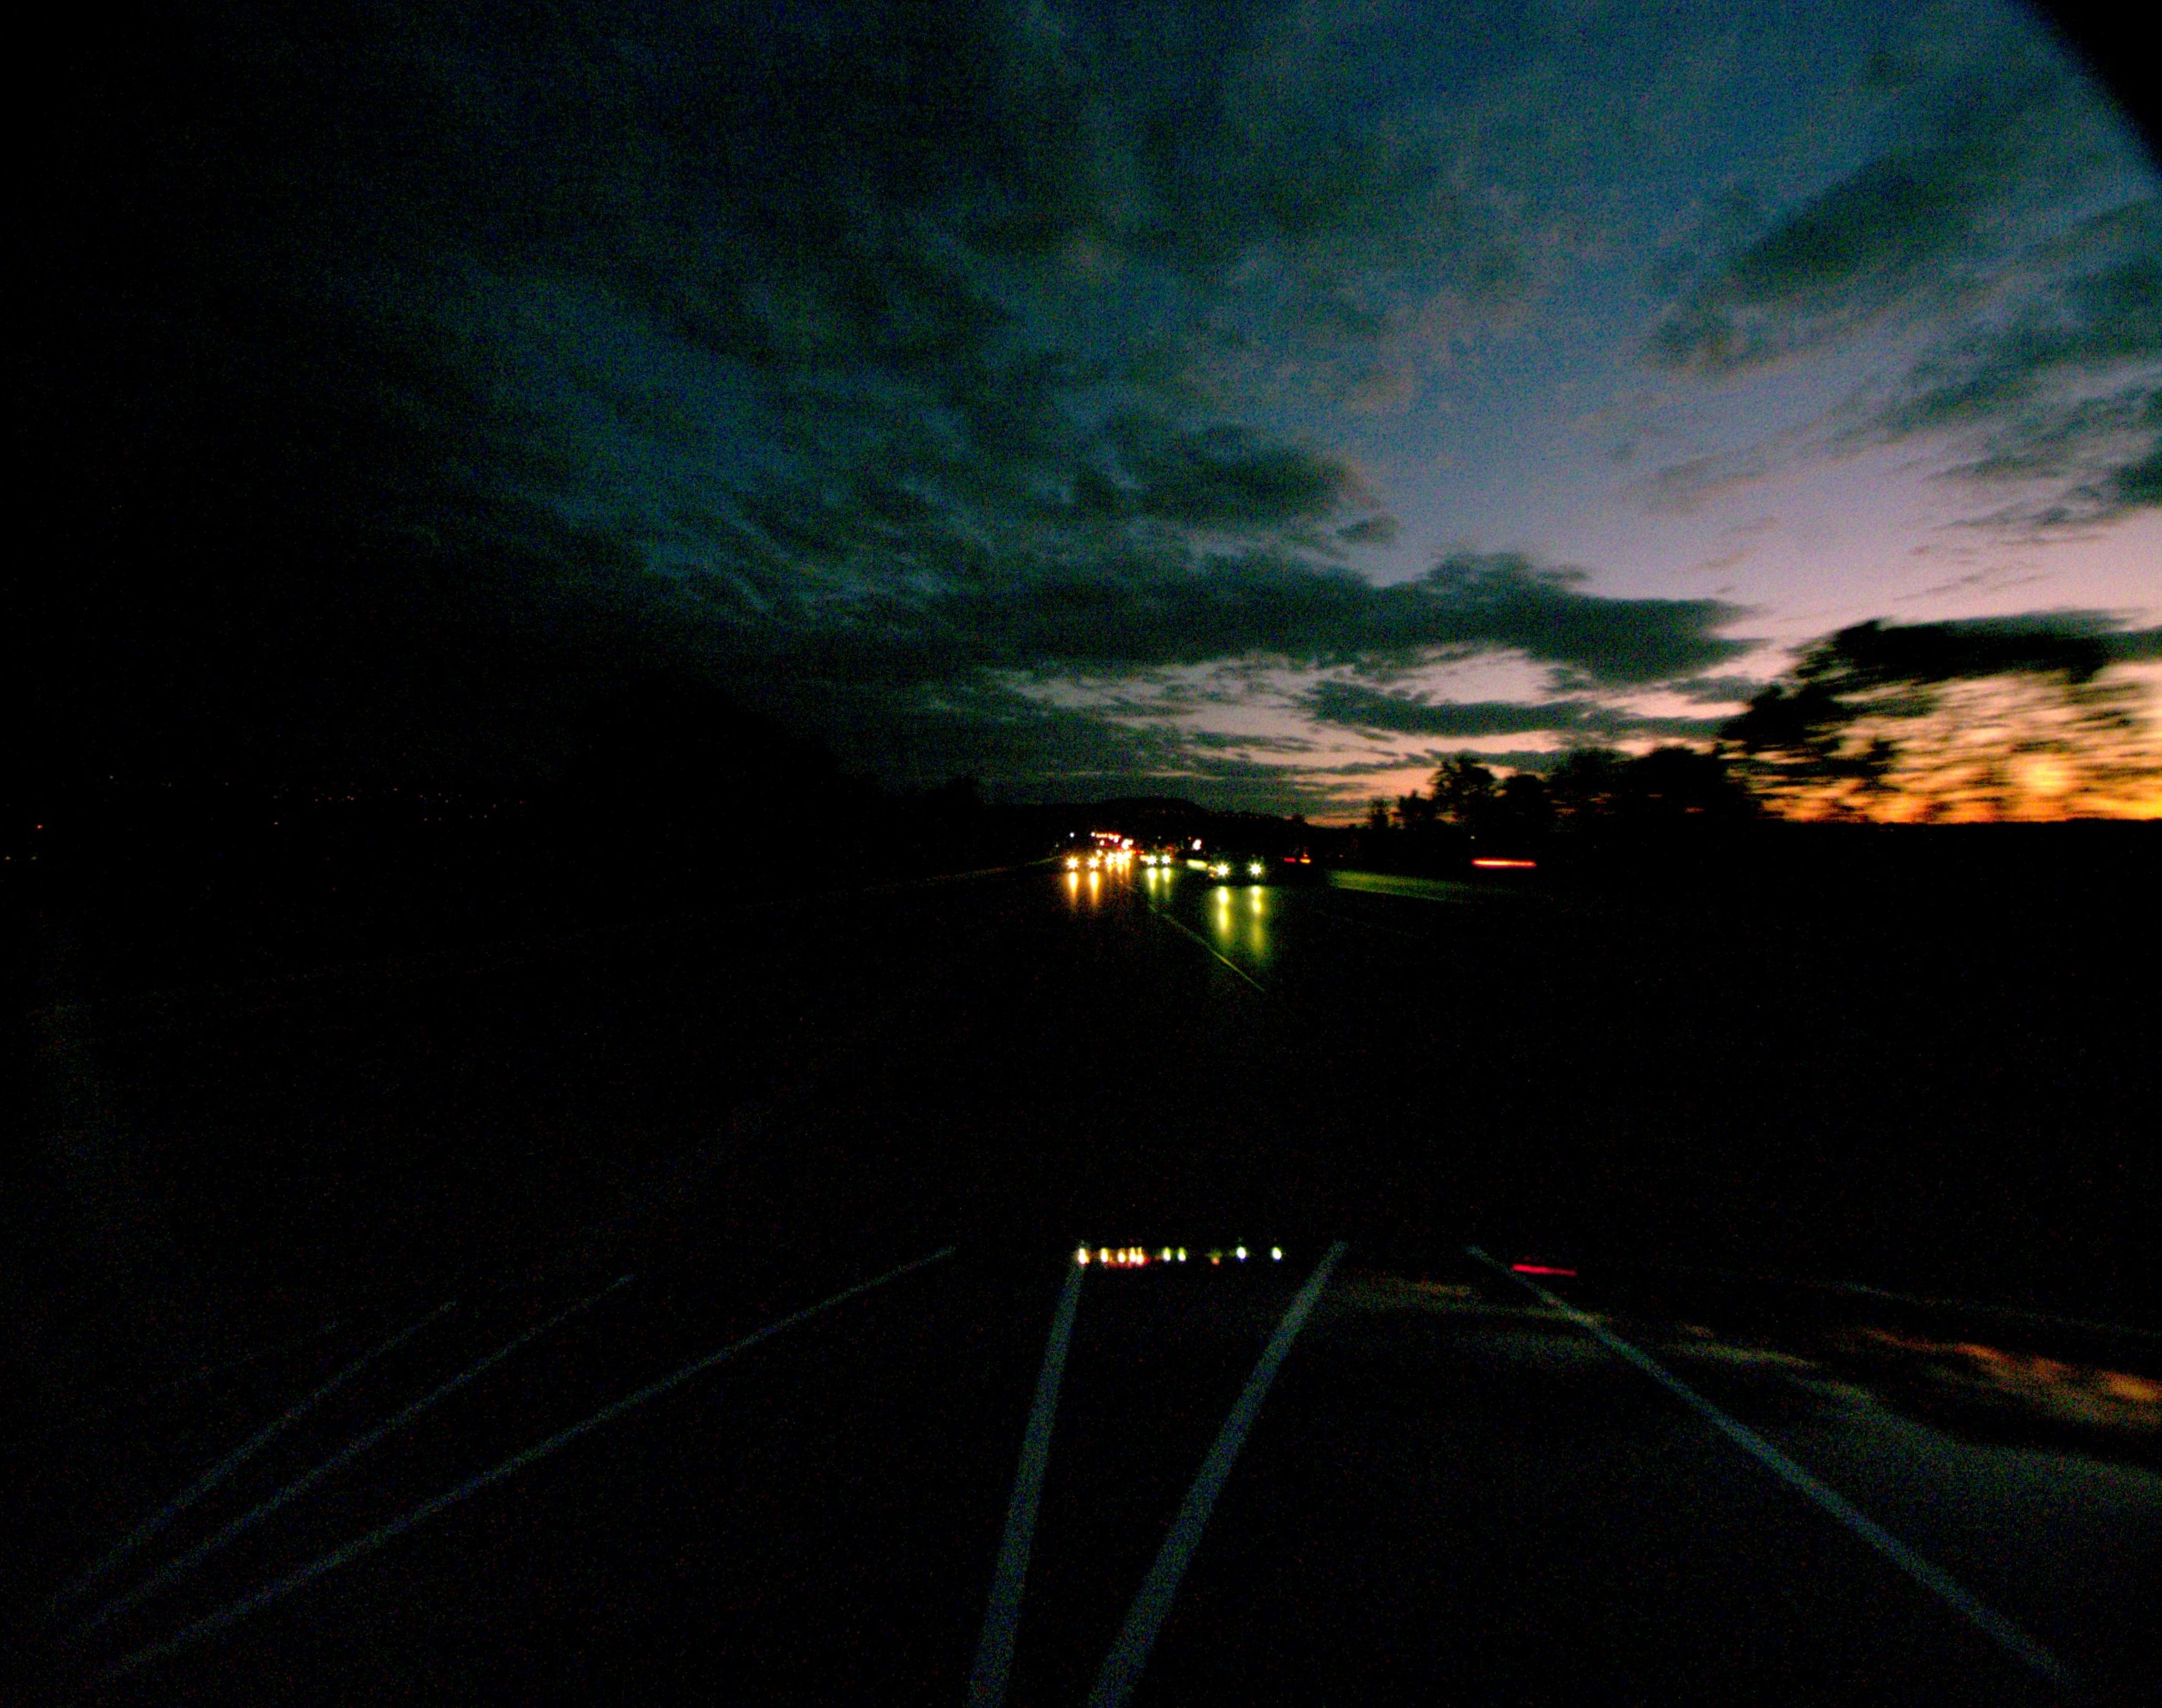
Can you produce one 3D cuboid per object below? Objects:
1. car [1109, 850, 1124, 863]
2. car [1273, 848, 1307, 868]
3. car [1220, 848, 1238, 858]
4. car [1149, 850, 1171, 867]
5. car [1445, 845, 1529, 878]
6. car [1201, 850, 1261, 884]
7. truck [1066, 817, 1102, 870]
[{"bbox_3d":[4.616,0.296,100.000,1.802,1.531,4.158,-2,1,1],"label":"car"},{"bbox_3d":[17.537,0.290,63.940,1.737,1.537,3.999,-2,1,1],"label":"car"},{"bbox_3d":[20.736,-0.146,106.613,1.748,1.354,4.111,-2,1,0],"label":"car"},{"bbox_3d":[8.225,0.464,79.646,1.819,1.638,4.856,-2,1,0],"label":"car"},{"bbox_3d":[19.839,0.337,37.367,1.864,1.445,4.274,-2,1,1],"label":"car"},{"bbox_3d":[7.194,0.576,37.012,1.819,1.429,5.394,-2,1,0],"label":"car"},{"bbox_3d":[0.334,-0.924,73.345,3.012,4.570,12.577,-2,0,1],"label":"truck"}]
